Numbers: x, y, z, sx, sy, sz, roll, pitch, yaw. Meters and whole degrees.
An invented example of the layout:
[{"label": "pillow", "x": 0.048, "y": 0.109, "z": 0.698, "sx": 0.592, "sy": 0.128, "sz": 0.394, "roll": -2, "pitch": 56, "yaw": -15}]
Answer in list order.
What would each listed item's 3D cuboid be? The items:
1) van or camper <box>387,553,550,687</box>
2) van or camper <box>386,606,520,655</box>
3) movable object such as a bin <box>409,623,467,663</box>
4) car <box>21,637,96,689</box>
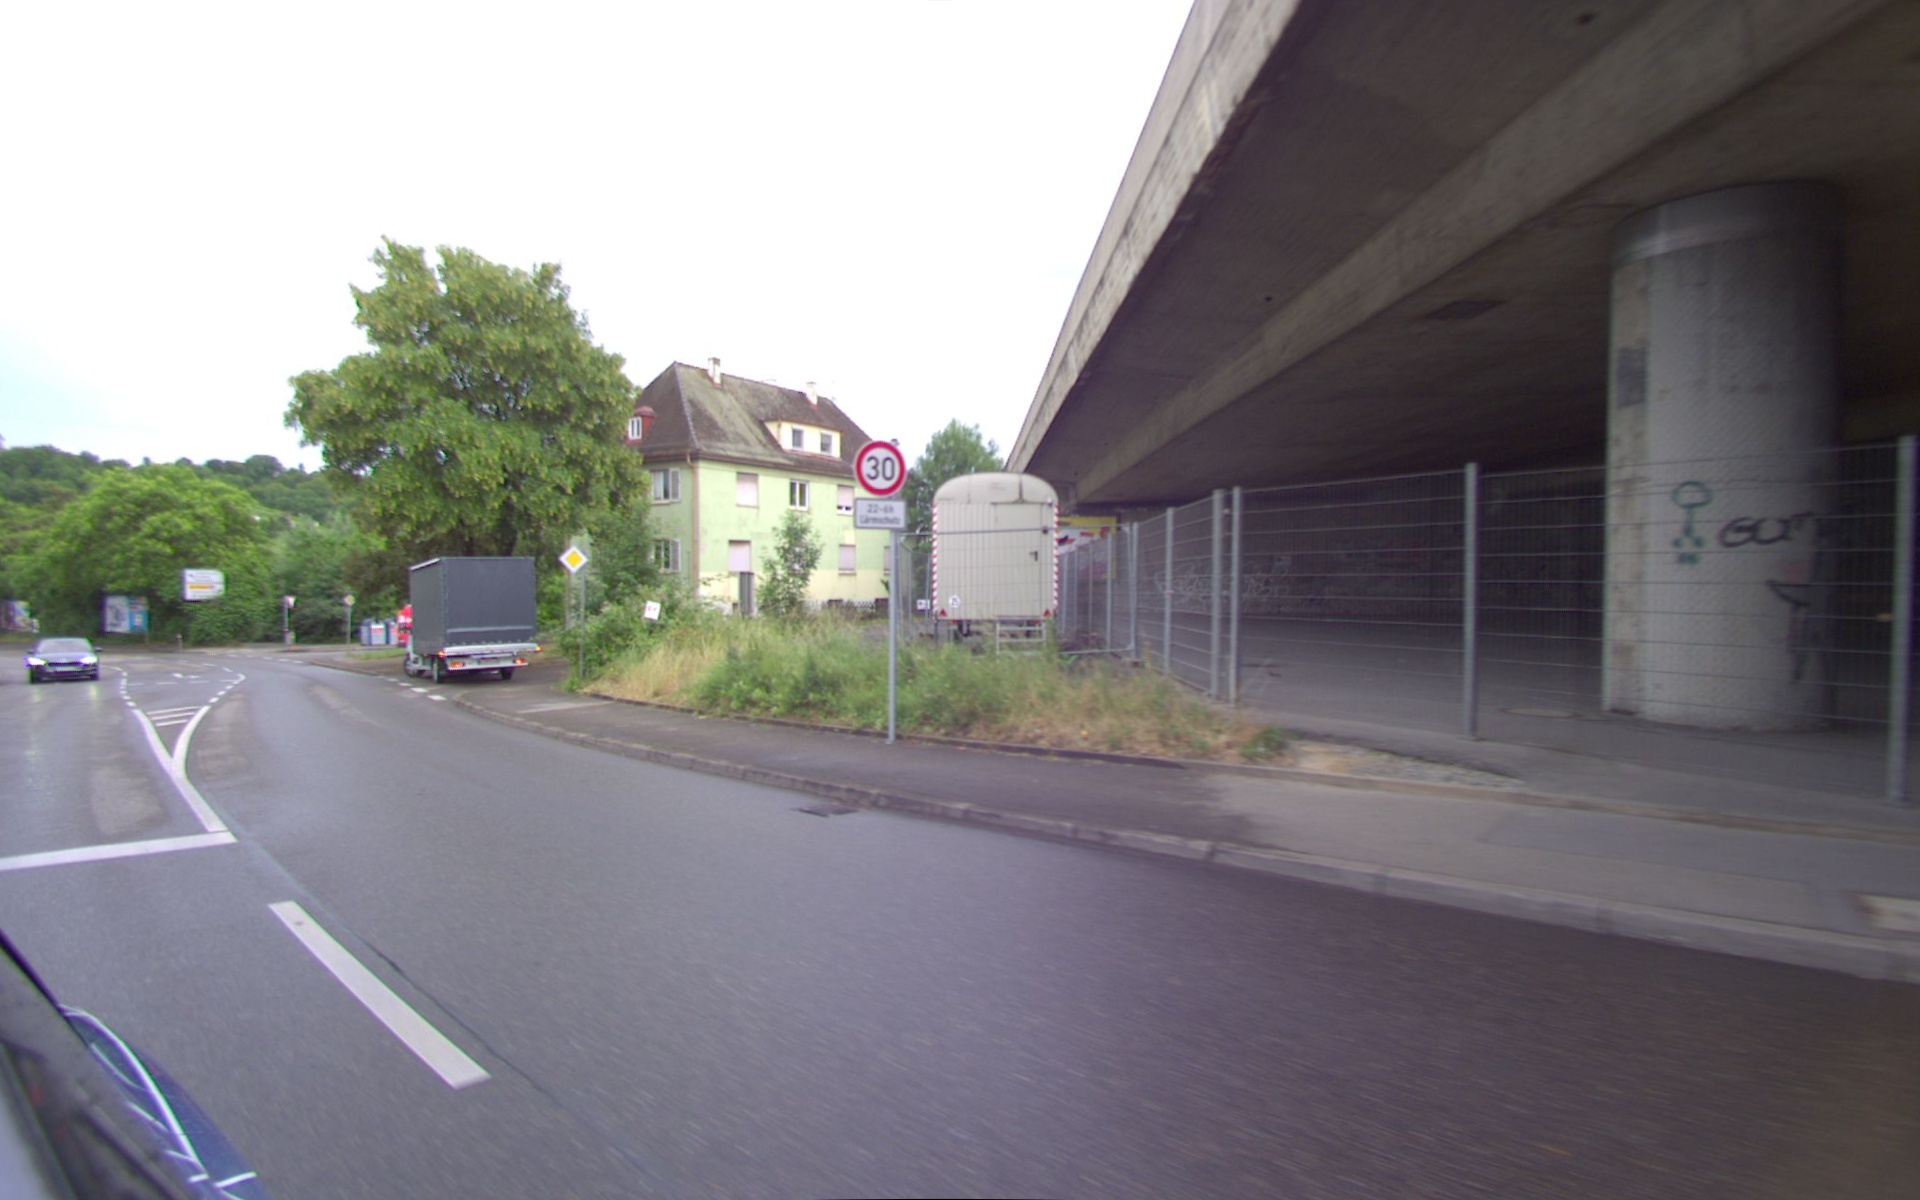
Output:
[{"label": "van or camper", "x": -14.364, "y": 0.572, "z": 29.216, "sx": 2.663, "sy": 3.360, "sz": 7.777, "roll": -1, "pitch": -1, "yaw": -38}, {"label": "van or camper", "x": -28.631, "y": 1.685, "z": 57.412, "sx": 2.215, "sy": 2.541, "sz": 6.626, "roll": -2, "pitch": -1, "yaw": 31}, {"label": "movable object such as a bin", "x": -20.837, "y": 1.696, "z": 40.454, "sx": 1.363, "sy": 1.452, "sz": 1.466, "roll": -5, "pitch": -1, "yaw": 13}, {"label": "car", "x": -30.224, "y": 2.053, "z": 33.901, "sx": 1.683, "sy": 1.569, "sz": 4.003, "roll": -1, "pitch": -1, "yaw": -44}]
